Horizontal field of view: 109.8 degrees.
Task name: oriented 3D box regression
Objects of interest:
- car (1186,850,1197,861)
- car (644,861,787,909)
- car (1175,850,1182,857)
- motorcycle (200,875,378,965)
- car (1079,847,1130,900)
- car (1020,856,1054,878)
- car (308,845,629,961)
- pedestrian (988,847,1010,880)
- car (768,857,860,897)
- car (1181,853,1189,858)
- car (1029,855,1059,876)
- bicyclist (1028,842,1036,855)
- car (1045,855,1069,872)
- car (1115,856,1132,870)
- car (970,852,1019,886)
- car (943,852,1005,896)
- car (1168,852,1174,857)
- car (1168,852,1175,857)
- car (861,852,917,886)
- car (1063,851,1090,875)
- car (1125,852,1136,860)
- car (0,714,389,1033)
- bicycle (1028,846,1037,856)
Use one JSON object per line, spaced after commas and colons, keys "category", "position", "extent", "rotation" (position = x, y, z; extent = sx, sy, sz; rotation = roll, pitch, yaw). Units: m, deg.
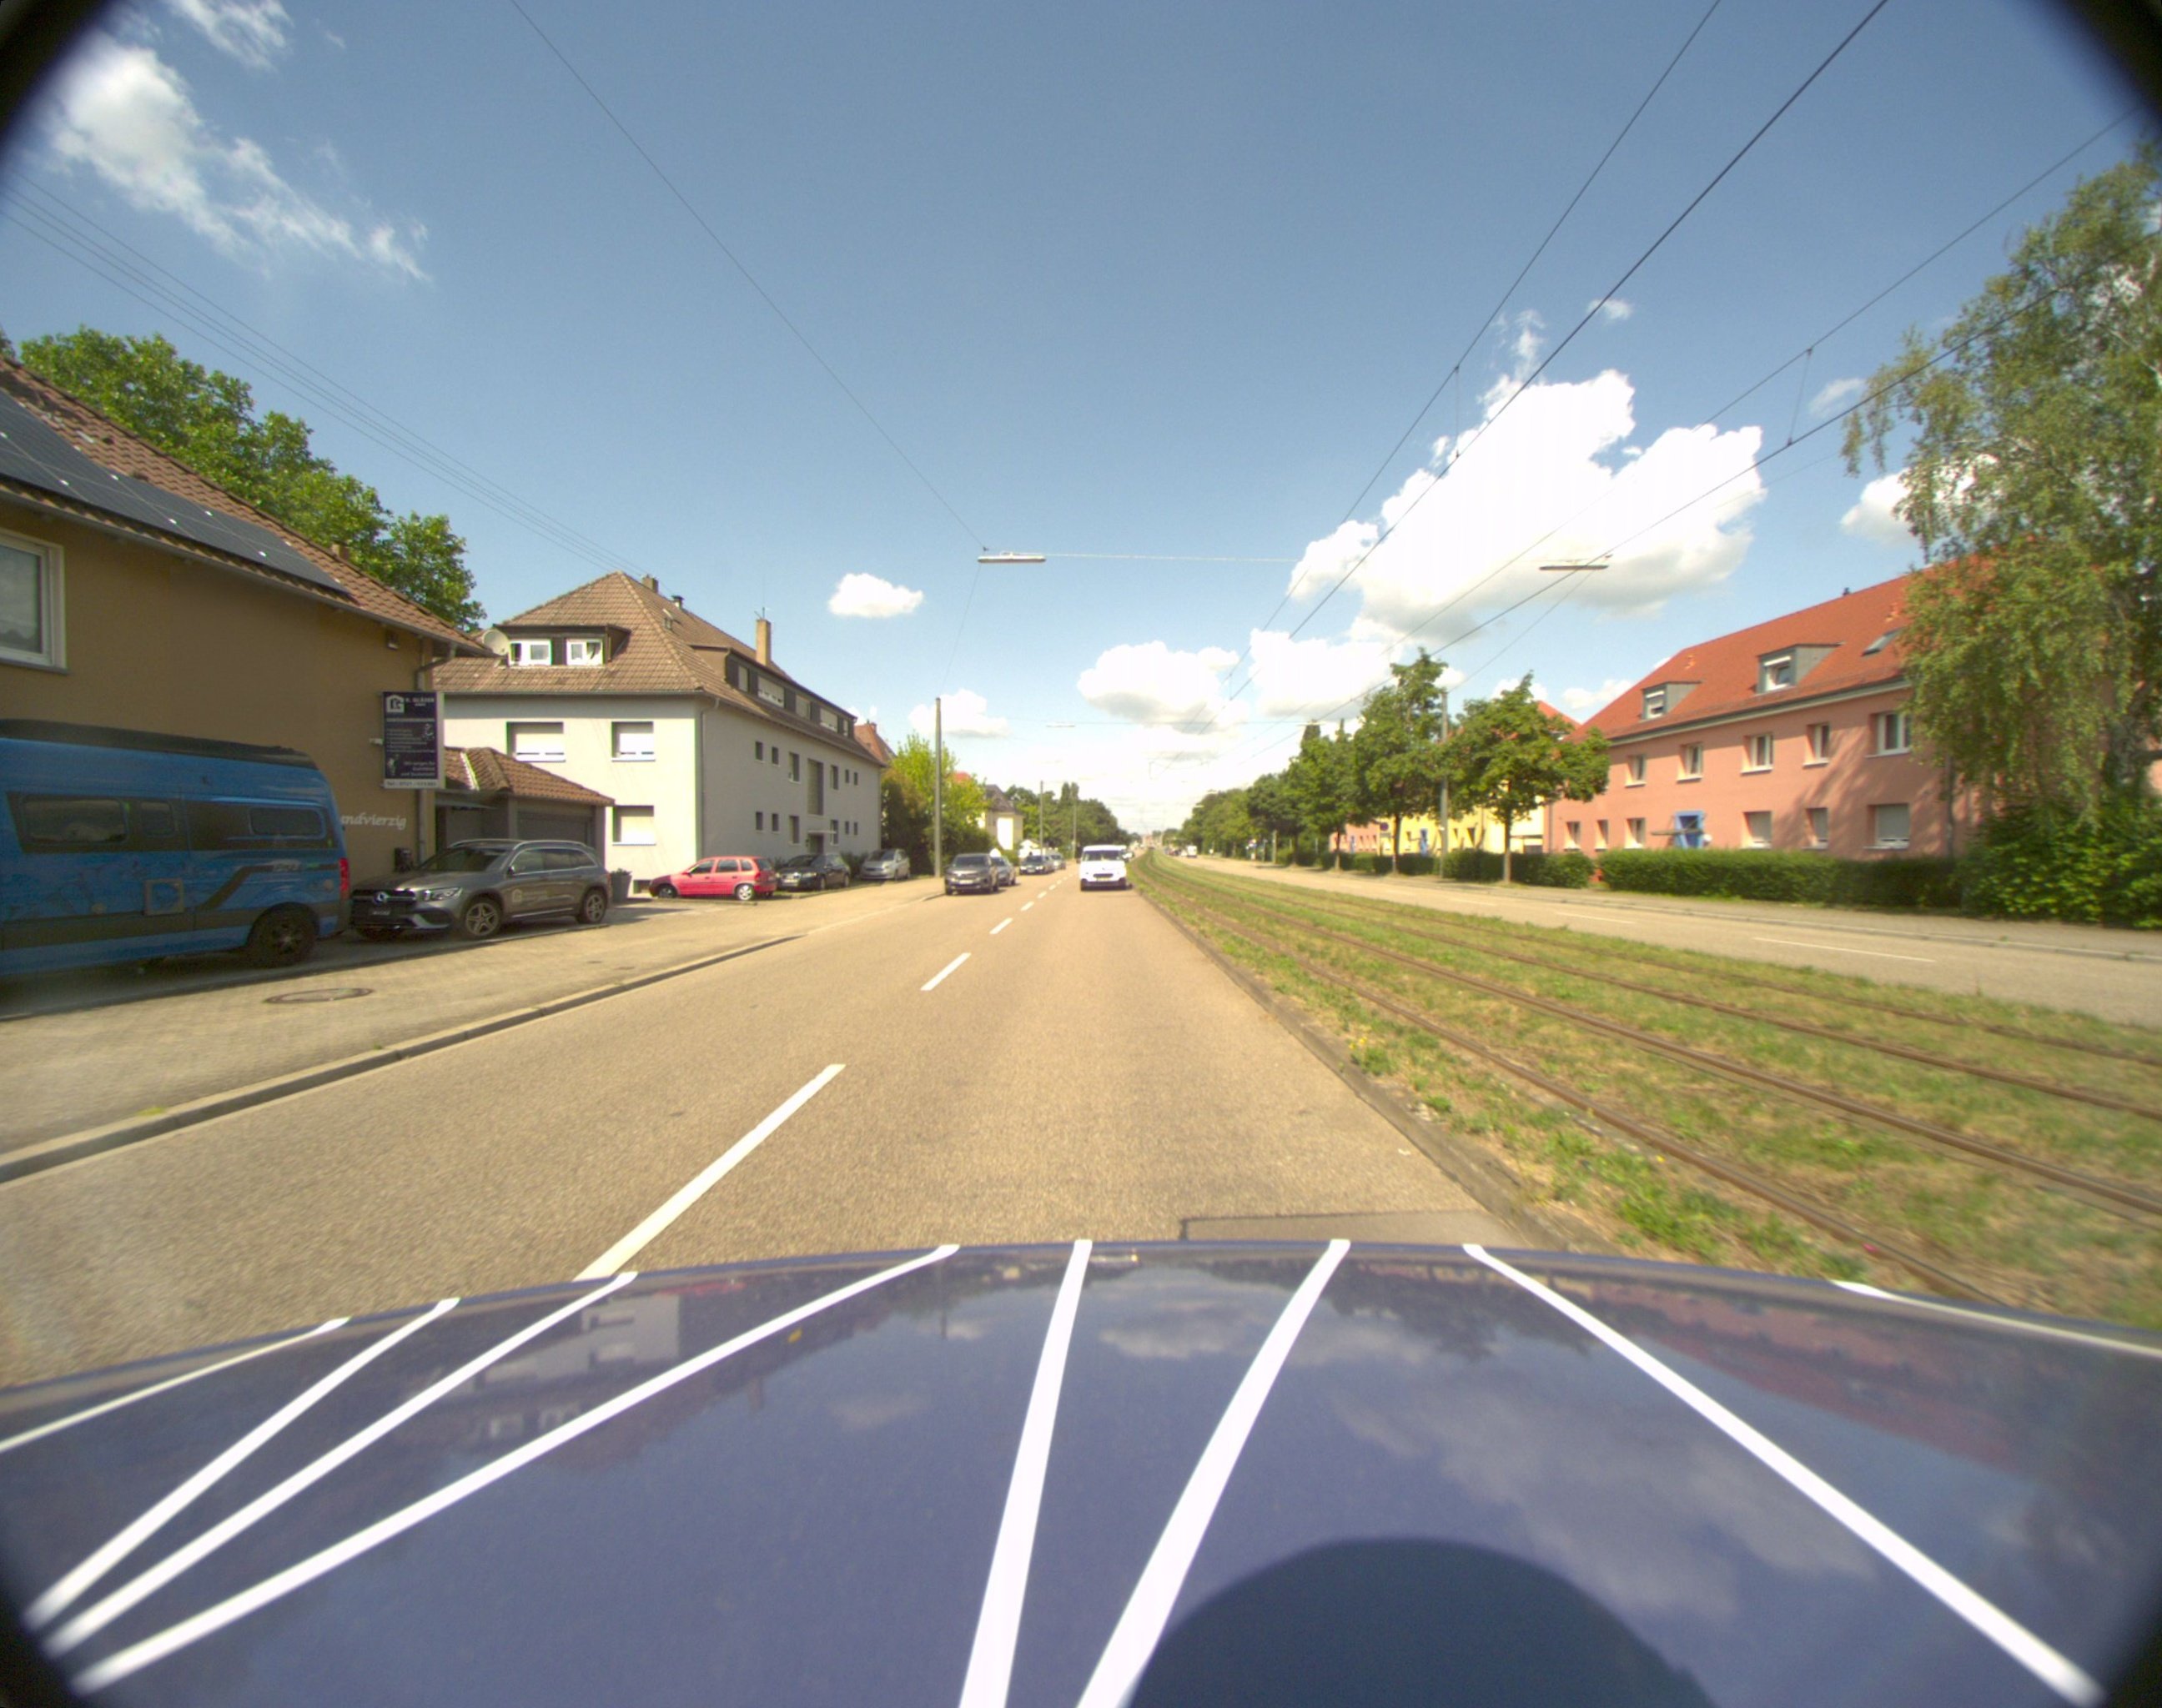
{"category": "car", "position": [24.782, 0.398, 170.597], "extent": [2.036, 2.422, 5.779], "rotation": [1, 0, 5]}
{"category": "car", "position": [-11.481, 0.952, 24.073], "extent": [3.658, 1.372, 1.726], "rotation": [-1, 1, -1]}
{"category": "car", "position": [25.236, -0.228, 197.075], "extent": [1.689, 1.736, 4.229], "rotation": [0, 0, 5]}
{"category": "motorcycle", "position": [-12.227, 0.973, 11.840], "extent": [0.693, 1.226, 1.968], "rotation": [0, 0, 1]}
{"category": "car", "position": [0.847, 0.694, 29.668], "extent": [1.777, 1.850, 4.375], "rotation": [-2, 0, 0]}
{"category": "car", "position": [-3.166, 0.919, 55.516], "extent": [1.904, 1.435, 5.059], "rotation": [-2, 0, 3]}
{"category": "car", "position": [-10.609, 0.739, 13.796], "extent": [1.841, 1.701, 4.864], "rotation": [1, 0, 0]}
{"category": "pedestrian", "position": [-4.866, 0.537, 45.286], "extent": [1.114, 1.935, 1.092], "rotation": [0, 1, 4]}
{"category": "car", "position": [-10.338, 0.841, 29.833], "extent": [1.803, 1.415, 4.857], "rotation": [0, 0, 1]}
{"category": "car", "position": [28.057, 0.383, 205.078], "extent": [1.689, 1.422, 4.278], "rotation": [0, 0, 5]}
{"category": "car", "position": [-2.946, 0.898, 60.950], "extent": [1.894, 1.447, 5.006], "rotation": [-2, 1, 2]}
{"category": "bicyclist", "position": [-5.121, -0.612, 80.155], "extent": [0.689, 1.345, 0.665], "rotation": [0, 1, 11]}
{"category": "car", "position": [-2.185, 0.867, 70.260], "extent": [1.741, 1.481, 4.095], "rotation": [-2, 1, 5]}
{"category": "car", "position": [5.504, 1.115, 97.489], "extent": [1.998, 1.576, 4.001], "rotation": [-2, 1, 5]}
{"category": "car", "position": [-4.087, 0.669, 36.703], "extent": [1.819, 1.445, 4.642], "rotation": [-2, 1, 0]}
{"category": "car", "position": [-4.159, 0.727, 30.039], "extent": [1.812, 1.550, 4.252], "rotation": [-2, 1, 0]}
{"category": "car", "position": [25.592, 0.167, 216.811], "extent": [1.731, 1.386, 4.278], "rotation": [0, 0, 6]}
{"category": "car", "position": [29.318, 0.254, 247.008], "extent": [2.120, 1.642, 4.278], "rotation": [0, 0, 6]}
{"category": "car", "position": [-9.969, 0.733, 39.791], "extent": [1.761, 1.637, 4.768], "rotation": [0, 1, -1]}
{"category": "car", "position": [-0.338, 0.609, 53.009], "extent": [1.777, 1.540, 3.999], "rotation": [-2, 0, -1]}
{"category": "car", "position": [9.866, 0.473, 151.408], "extent": [1.998, 1.477, 4.000], "rotation": [-2, 1, 3]}
{"category": "car", "position": [-10.919, 0.196, 7.544], "extent": [2.157, 2.913, 6.244], "rotation": [-2, 1, 1]}
{"category": "bicycle", "position": [-5.095, -0.327, 80.217], "extent": [0.556, 1.059, 1.524], "rotation": [0, 0, 11]}
